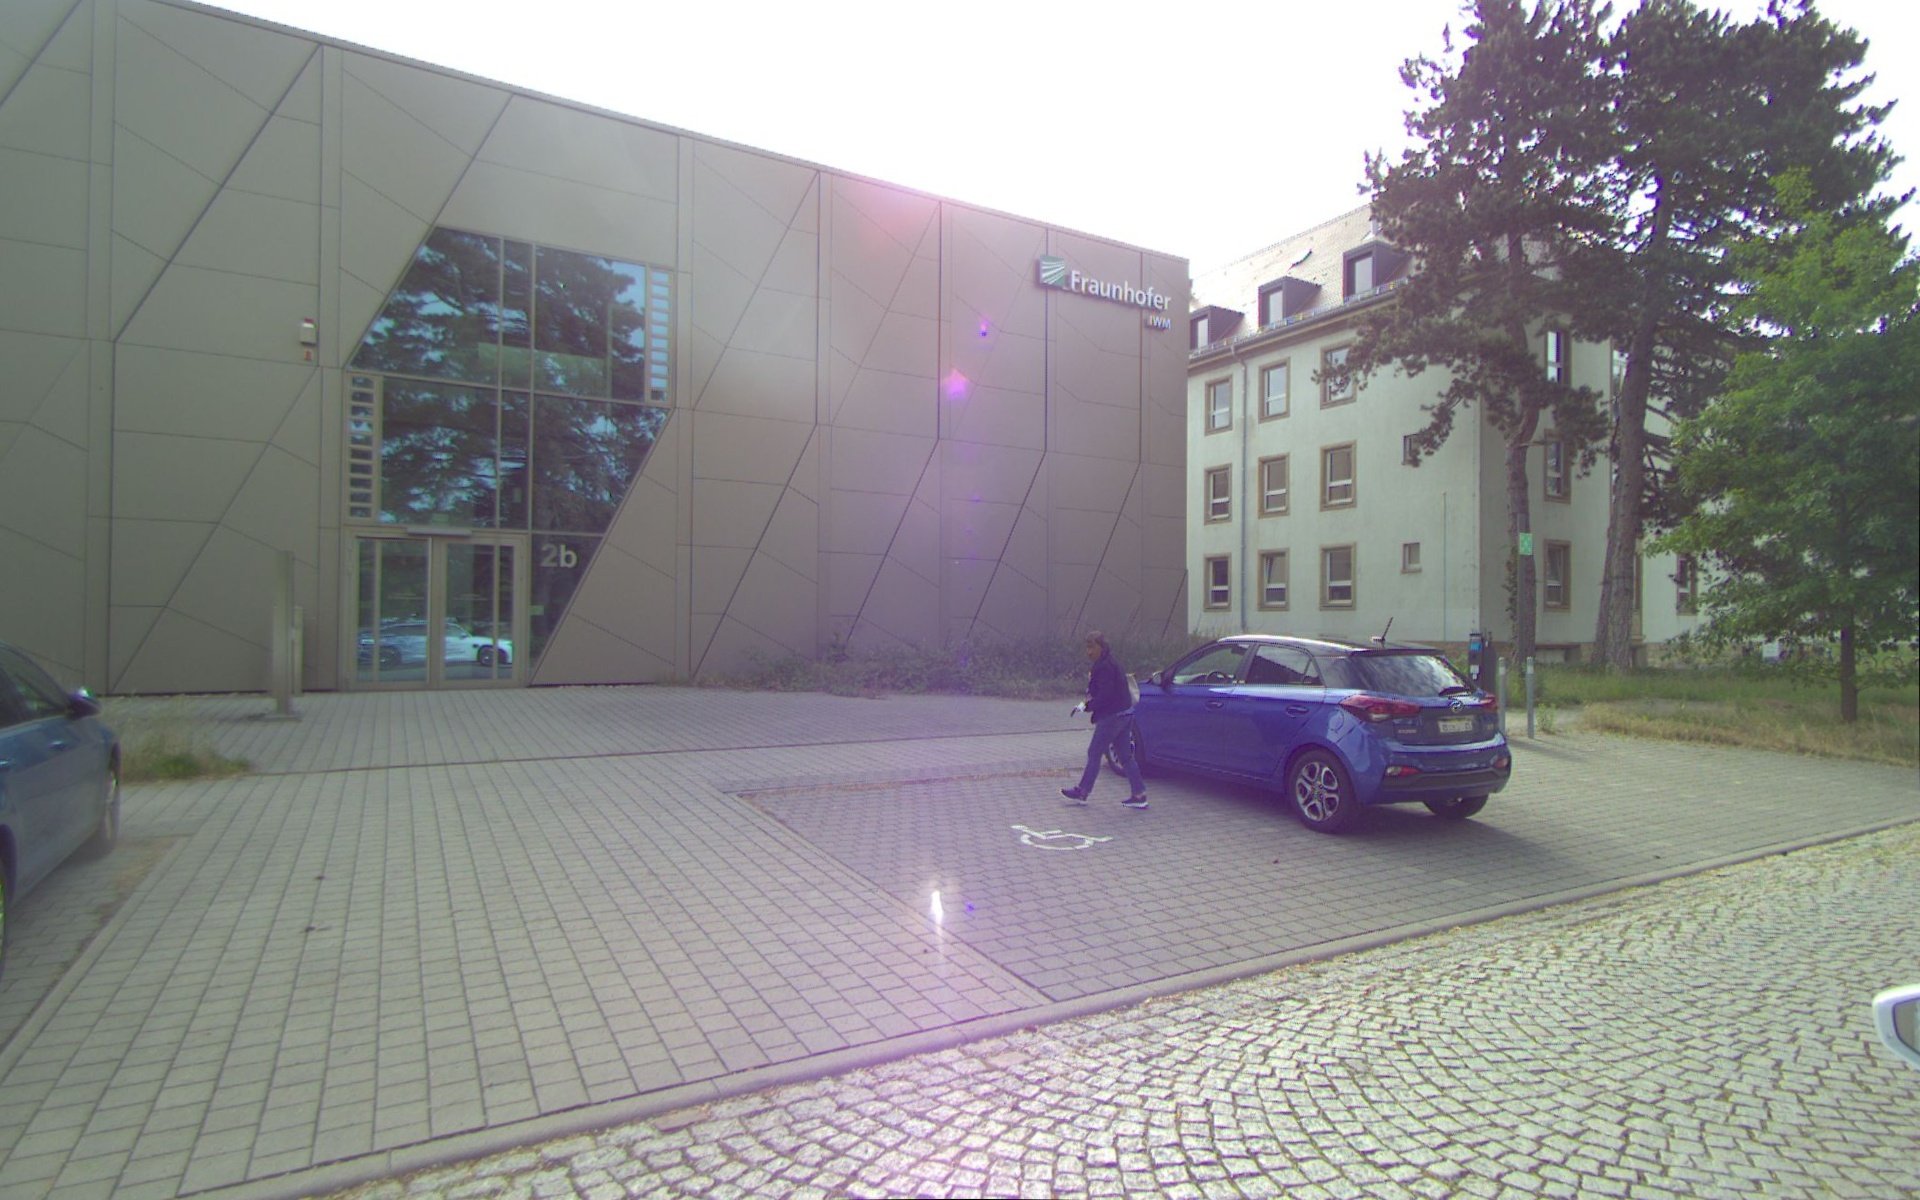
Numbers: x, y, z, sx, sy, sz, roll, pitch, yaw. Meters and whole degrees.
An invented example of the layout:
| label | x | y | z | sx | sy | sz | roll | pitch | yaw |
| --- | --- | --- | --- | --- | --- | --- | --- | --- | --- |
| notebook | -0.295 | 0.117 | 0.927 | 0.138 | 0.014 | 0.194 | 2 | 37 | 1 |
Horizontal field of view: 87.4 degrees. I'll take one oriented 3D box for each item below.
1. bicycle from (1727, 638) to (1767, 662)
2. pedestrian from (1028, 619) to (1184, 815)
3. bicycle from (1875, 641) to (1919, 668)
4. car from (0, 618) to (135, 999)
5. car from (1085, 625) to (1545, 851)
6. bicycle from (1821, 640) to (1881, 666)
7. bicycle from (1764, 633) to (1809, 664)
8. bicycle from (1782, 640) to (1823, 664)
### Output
| label | x | y | z | sx | sy | sz | roll | pitch | yaw |
| --- | --- | --- | --- | --- | --- | --- | --- | --- | --- |
| bicycle | 37.619 | 2.378 | 48.025 | 2.246 | 1.090 | 0.732 | 1 | -2 | -30 |
| pedestrian | 1.232 | 0.946 | 8.541 | 0.811 | 1.514 | 0.976 | 3 | 0 | -36 |
| bicycle | 39.672 | 2.279 | 42.054 | 0.821 | 1.090 | 1.849 | 1 | -2 | -27 |
| car | -5.157 | 0.850 | 4.477 | 1.755 | 1.447 | 4.280 | 1 | 0 | -33 |
| car | 2.961 | 1.034 | 9.190 | 1.828 | 1.497 | 3.752 | 1 | 0 | -27 |
| bicycle | 38.729 | 2.302 | 43.682 | 0.729 | 1.090 | 1.849 | 1 | -2 | -27 |
| bicycle | 38.644 | 2.253 | 46.957 | 2.679 | 1.404 | 0.732 | 1 | -2 | -30 |
| bicycle | 38.699 | 2.382 | 46.127 | 2.246 | 1.090 | 0.732 | 1 | -2 | -30 |
